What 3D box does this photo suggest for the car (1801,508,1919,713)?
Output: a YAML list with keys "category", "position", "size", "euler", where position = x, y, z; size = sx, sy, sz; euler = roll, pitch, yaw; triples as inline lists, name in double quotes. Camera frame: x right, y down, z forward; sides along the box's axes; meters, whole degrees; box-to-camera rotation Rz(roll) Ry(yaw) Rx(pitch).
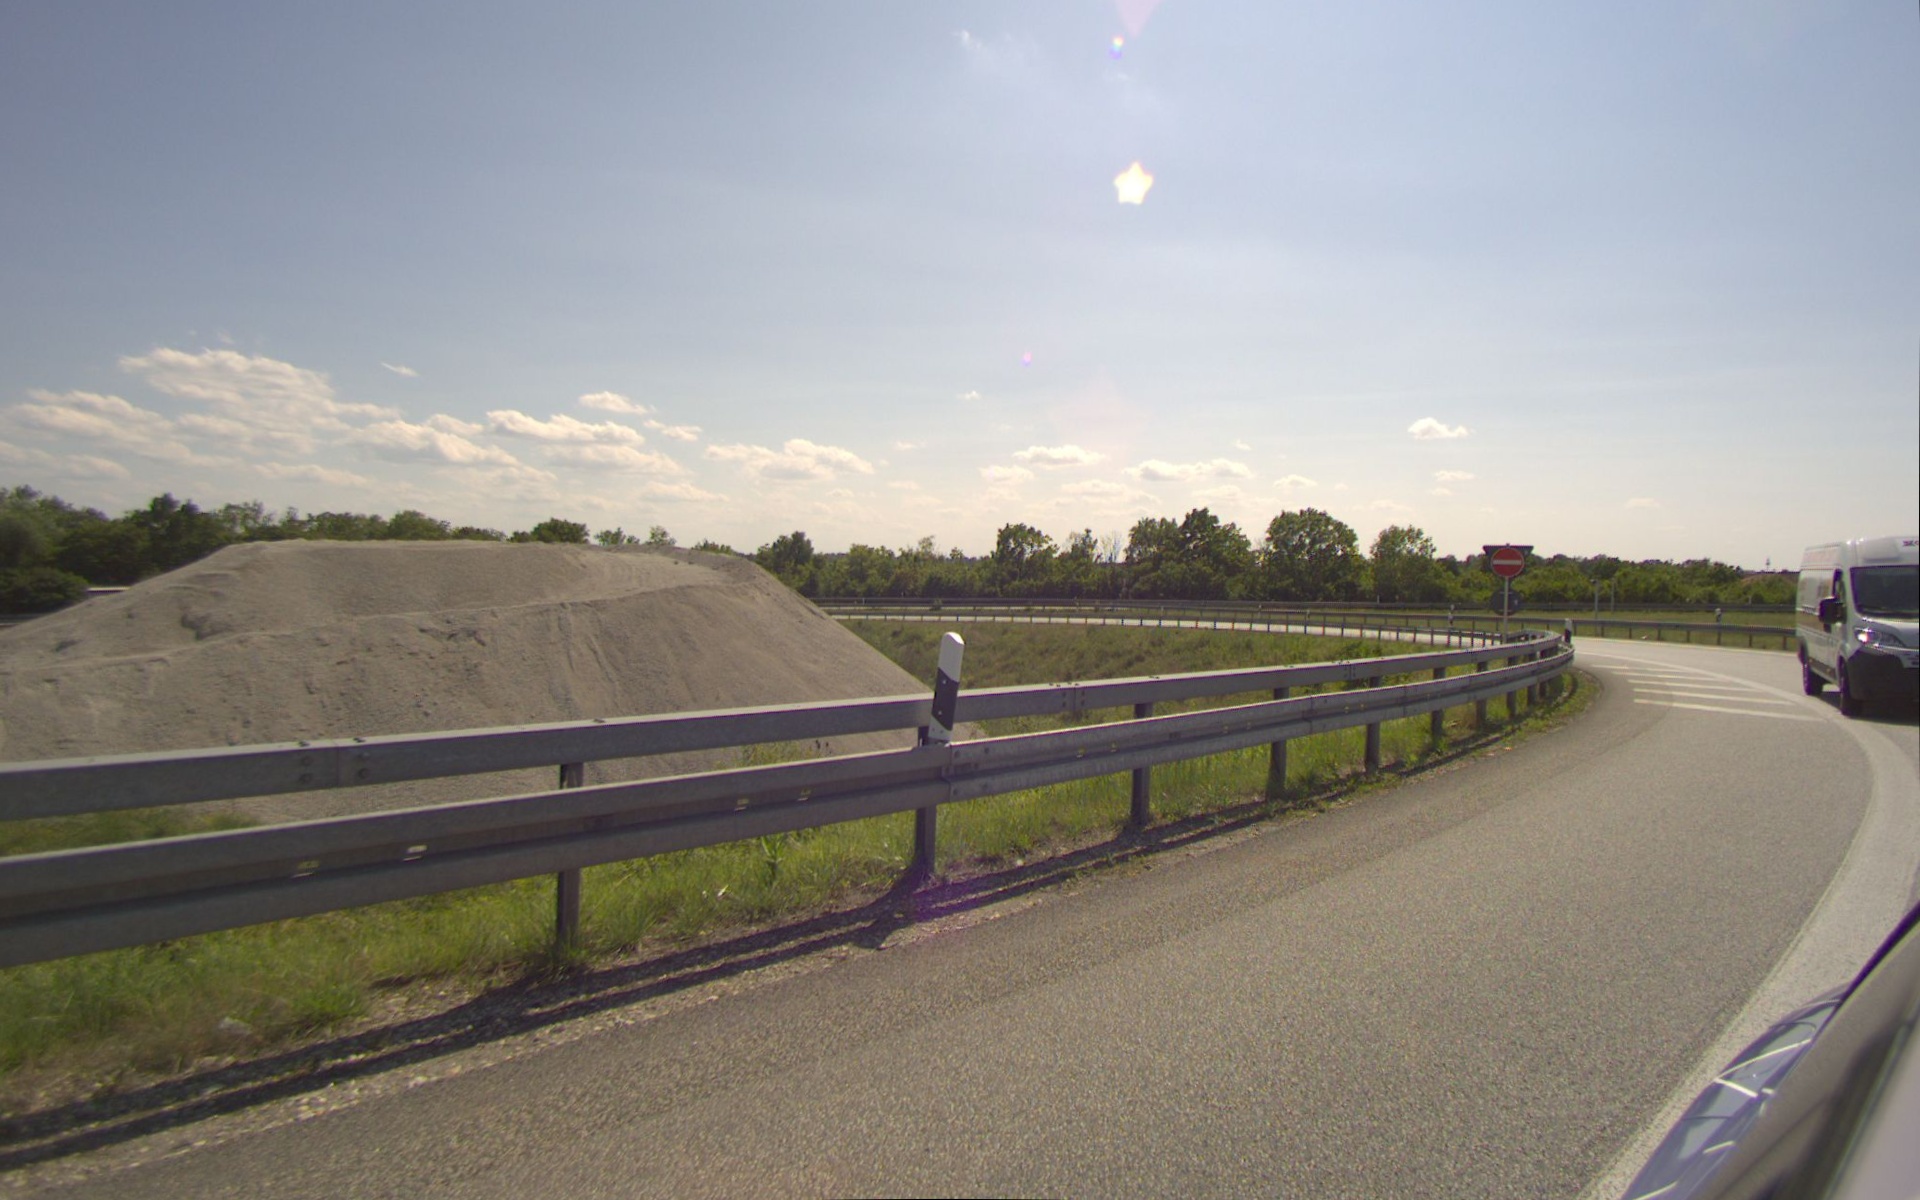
- category: "car"
  position: [14.056, 0.128, 14.891]
  size: [2.076, 2.556, 6.156]
  euler: [-2, -1, 36]
